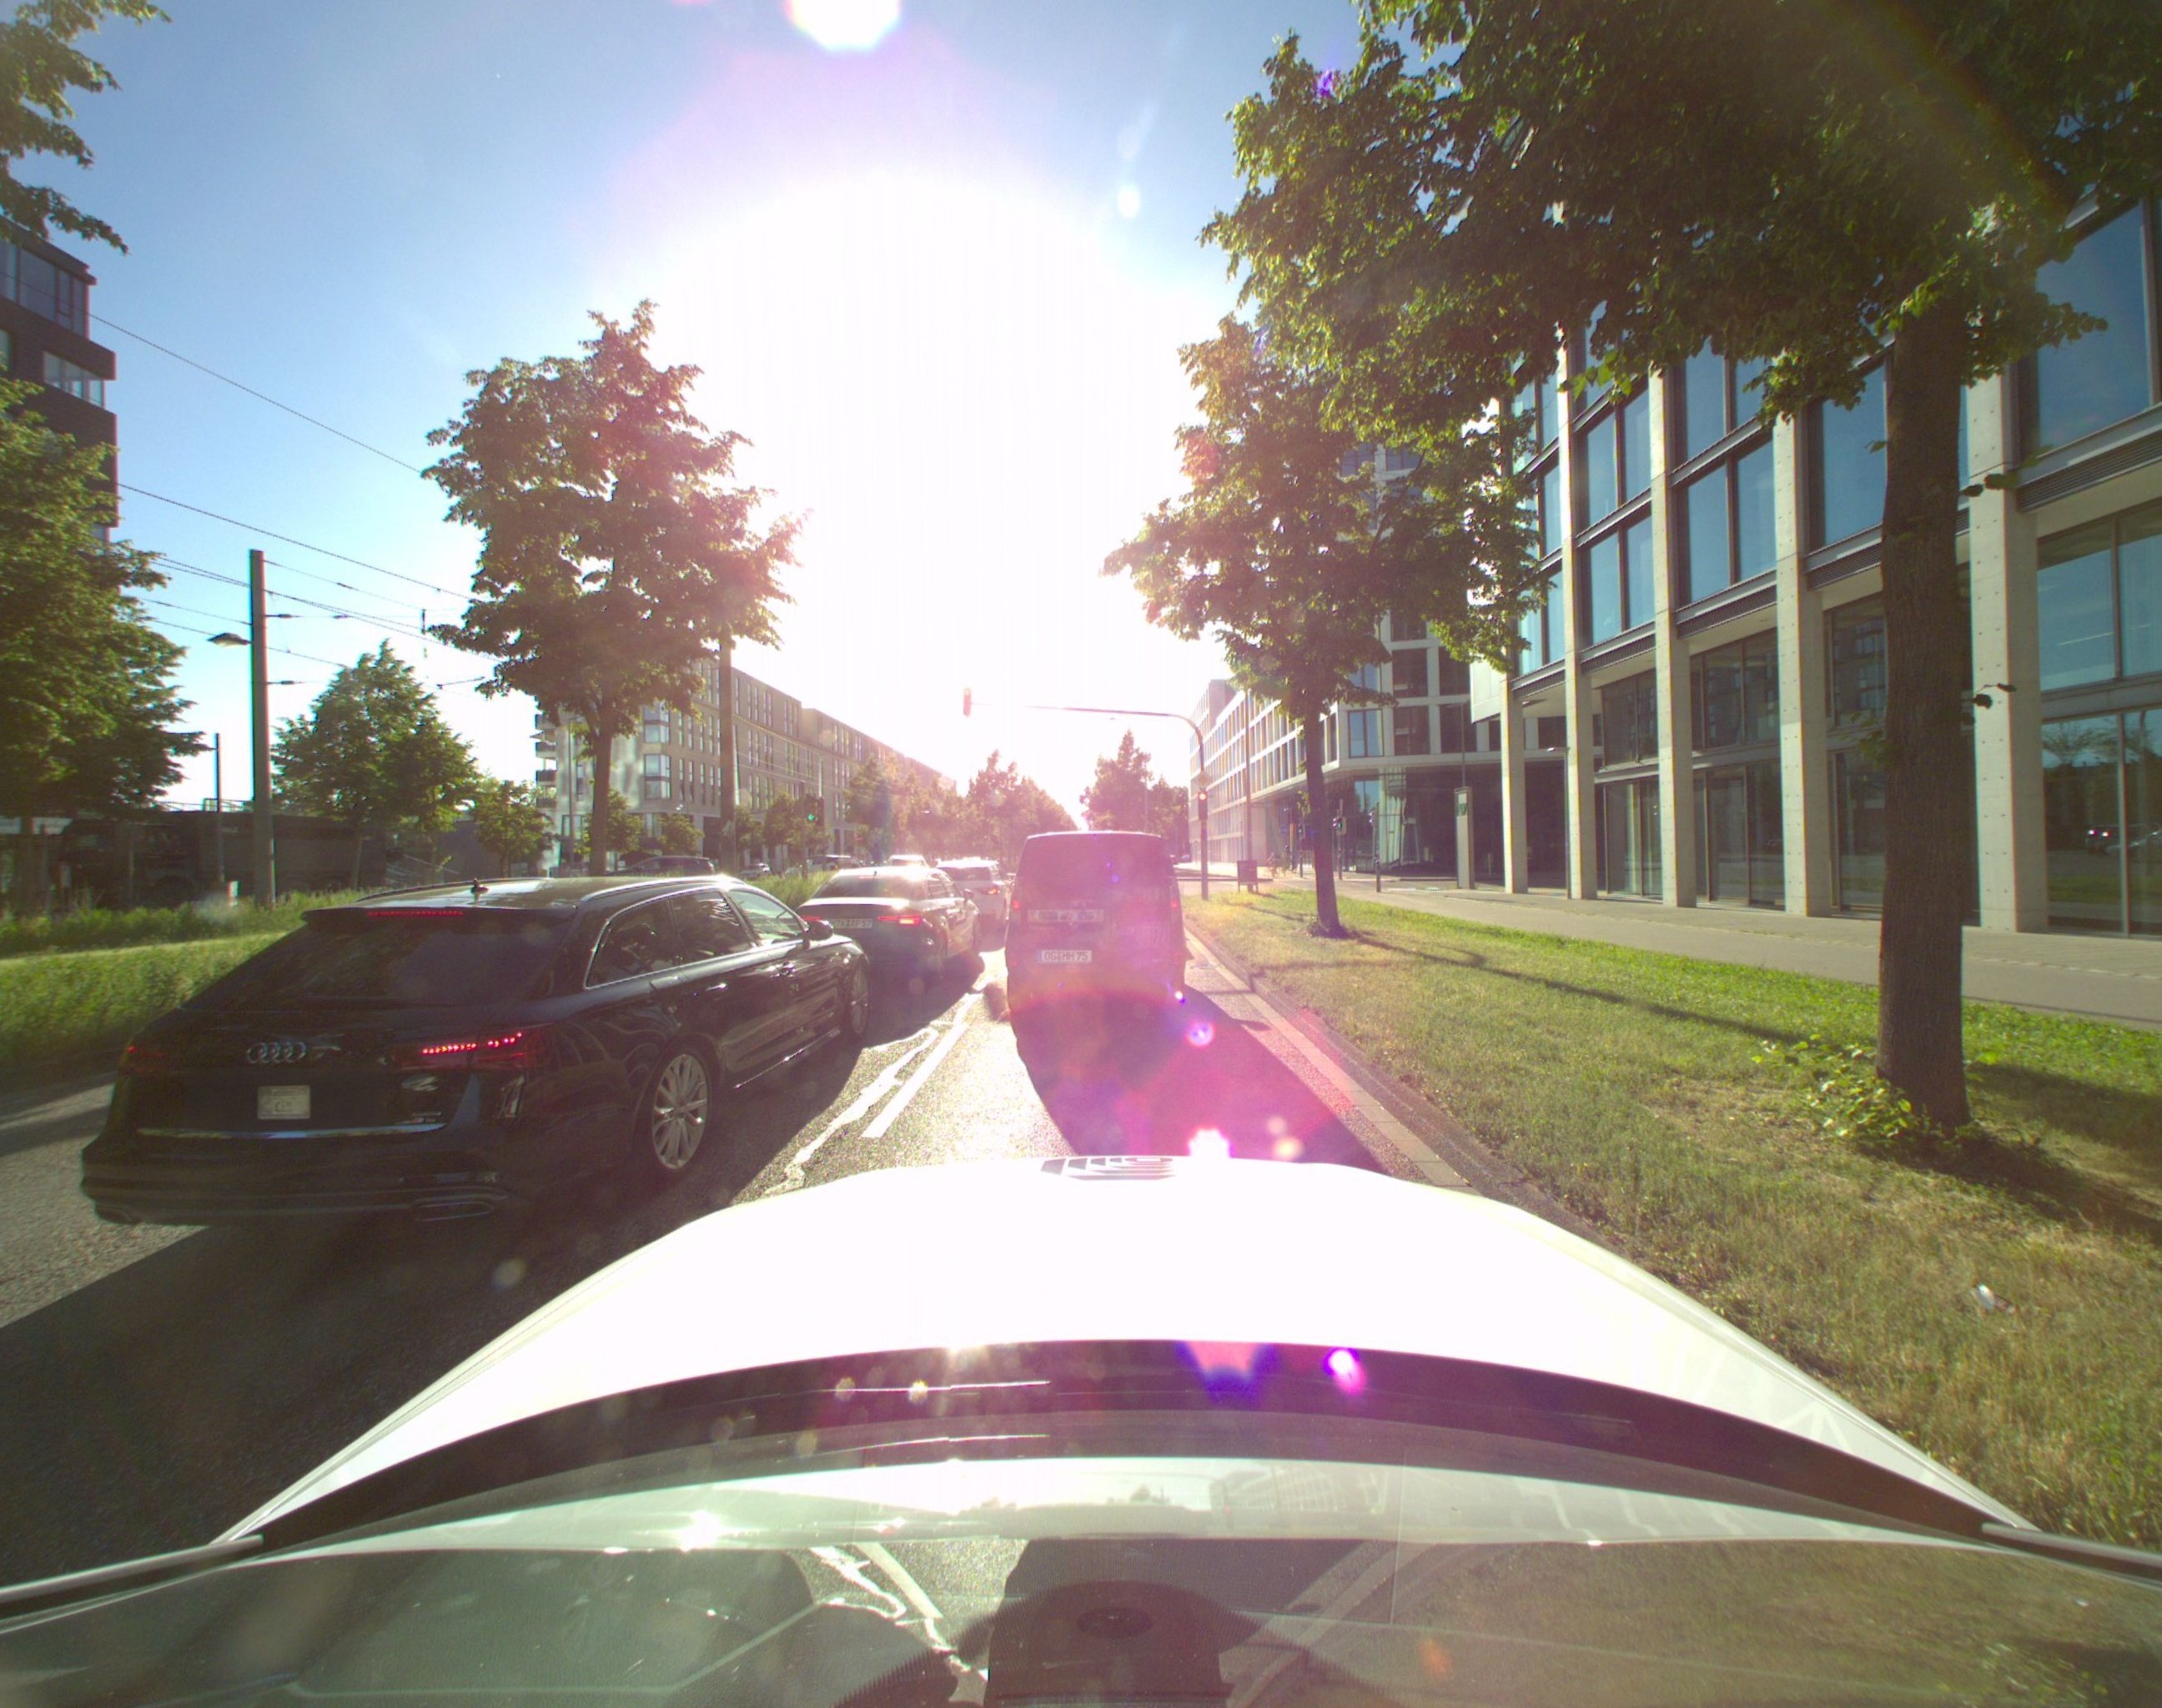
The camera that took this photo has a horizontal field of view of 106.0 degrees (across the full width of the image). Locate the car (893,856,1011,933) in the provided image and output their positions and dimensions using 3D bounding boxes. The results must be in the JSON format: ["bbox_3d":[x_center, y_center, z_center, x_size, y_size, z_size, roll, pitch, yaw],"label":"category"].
[{"bbox_3d":[-2.659,0.787,17.646,1.797,1.426,3.902,-1,0,2],"label":"car"}]

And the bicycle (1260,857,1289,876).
[{"bbox_3d":[11.861,0.755,49.960,0.817,1.114,2.840,-1,0,-6],"label":"bicycle"}]

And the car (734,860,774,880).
[{"bbox_3d":[-31.801,1.537,79.243,1.986,1.814,4.372,-1,0,2],"label":"car"}]

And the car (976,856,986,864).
[{"bbox_3d":[-27.444,1.566,223.811,1.986,2.013,4.002,-1,0,2],"label":"car"}]

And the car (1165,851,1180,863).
[{"bbox_3d":[14.322,0.427,127.865,1.986,1.782,4.002,-1,0,2],"label":"car"}]

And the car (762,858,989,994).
[{"bbox_3d":[-2.498,0.802,11.071,1.835,1.426,4.340,-1,0,2],"label":"car"}]

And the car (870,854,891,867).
[{"bbox_3d":[-30.758,0.987,125.139,1.986,2.013,4.002,-1,0,2],"label":"car"}]

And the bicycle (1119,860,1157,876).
[{"bbox_3d":[4.496,1.122,64.169,2.929,1.190,0.818,-1,0,3],"label":"bicycle"}]

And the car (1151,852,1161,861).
[{"bbox_3d":[16.505,0.539,179.676,1.986,1.782,4.002,-1,0,2],"label":"car"}]

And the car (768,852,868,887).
[{"bbox_3d":[-11.859,0.689,36.631,4.509,1.447,1.816,-1,0,34],"label":"car"}]

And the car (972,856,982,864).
[{"bbox_3d":[-27.902,1.528,218.195,1.986,2.013,4.002,-1,0,2],"label":"car"}]

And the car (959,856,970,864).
[{"bbox_3d":[-28.613,1.421,200.182,1.986,2.013,4.002,-1,0,2],"label":"car"}]

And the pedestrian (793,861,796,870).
[{"bbox_3d":[-39.822,1.591,113.206,0.295,1.355,0.278,-1,0,1],"label":"pedestrian"}]

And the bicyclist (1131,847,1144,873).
[{"bbox_3d":[4.467,0.469,64.189,0.994,1.947,0.818,-1,0,3],"label":"bicyclist"}]

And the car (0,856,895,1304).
[{"bbox_3d":[-2.759,0.787,5.297,1.868,1.484,4.967,-1,0,1],"label":"car"}]

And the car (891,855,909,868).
[{"bbox_3d":[-30.589,1.275,137.454,1.986,2.013,4.002,-1,0,2],"label":"car"}]

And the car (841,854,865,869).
[{"bbox_3d":[-30.884,0.990,110.593,1.986,2.013,4.002,-1,0,2],"label":"car"}]

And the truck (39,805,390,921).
[{"bbox_3d":[-33.634,0.294,32.644,2.880,3.853,10.217,-1,0,2],"label":"truck"}]

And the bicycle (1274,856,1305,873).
[{"bbox_3d":[14.516,0.719,56.787,0.816,1.190,2.938,-1,0,-13],"label":"bicycle"}]

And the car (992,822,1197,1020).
[{"bbox_3d":[0.186,0.611,9.437,1.835,1.780,4.002,-1,0,2],"label":"car"}]

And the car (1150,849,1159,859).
[{"bbox_3d":[17.889,0.020,198.178,1.986,2.497,4.988,-1,0,2],"label":"car"}]

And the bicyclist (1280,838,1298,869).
[{"bbox_3d":[14.495,-0.025,56.798,0.816,2.092,0.938,-1,0,-14],"label":"bicyclist"}]

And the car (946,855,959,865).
[{"bbox_3d":[-28.903,1.327,183.363,1.986,2.013,4.002,-1,0,2],"label":"car"}]

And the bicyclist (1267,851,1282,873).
[{"bbox_3d":[11.853,0.482,49.889,0.814,1.275,0.683,-1,0,4],"label":"bicyclist"}]

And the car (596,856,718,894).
[{"bbox_3d":[-18.380,0.872,35.433,4.579,1.447,1.789,-1,0,-28],"label":"car"}]

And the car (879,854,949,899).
[{"bbox_3d":[-6.095,0.762,30.221,1.508,1.492,4.219,-1,1,3],"label":"car"}]
